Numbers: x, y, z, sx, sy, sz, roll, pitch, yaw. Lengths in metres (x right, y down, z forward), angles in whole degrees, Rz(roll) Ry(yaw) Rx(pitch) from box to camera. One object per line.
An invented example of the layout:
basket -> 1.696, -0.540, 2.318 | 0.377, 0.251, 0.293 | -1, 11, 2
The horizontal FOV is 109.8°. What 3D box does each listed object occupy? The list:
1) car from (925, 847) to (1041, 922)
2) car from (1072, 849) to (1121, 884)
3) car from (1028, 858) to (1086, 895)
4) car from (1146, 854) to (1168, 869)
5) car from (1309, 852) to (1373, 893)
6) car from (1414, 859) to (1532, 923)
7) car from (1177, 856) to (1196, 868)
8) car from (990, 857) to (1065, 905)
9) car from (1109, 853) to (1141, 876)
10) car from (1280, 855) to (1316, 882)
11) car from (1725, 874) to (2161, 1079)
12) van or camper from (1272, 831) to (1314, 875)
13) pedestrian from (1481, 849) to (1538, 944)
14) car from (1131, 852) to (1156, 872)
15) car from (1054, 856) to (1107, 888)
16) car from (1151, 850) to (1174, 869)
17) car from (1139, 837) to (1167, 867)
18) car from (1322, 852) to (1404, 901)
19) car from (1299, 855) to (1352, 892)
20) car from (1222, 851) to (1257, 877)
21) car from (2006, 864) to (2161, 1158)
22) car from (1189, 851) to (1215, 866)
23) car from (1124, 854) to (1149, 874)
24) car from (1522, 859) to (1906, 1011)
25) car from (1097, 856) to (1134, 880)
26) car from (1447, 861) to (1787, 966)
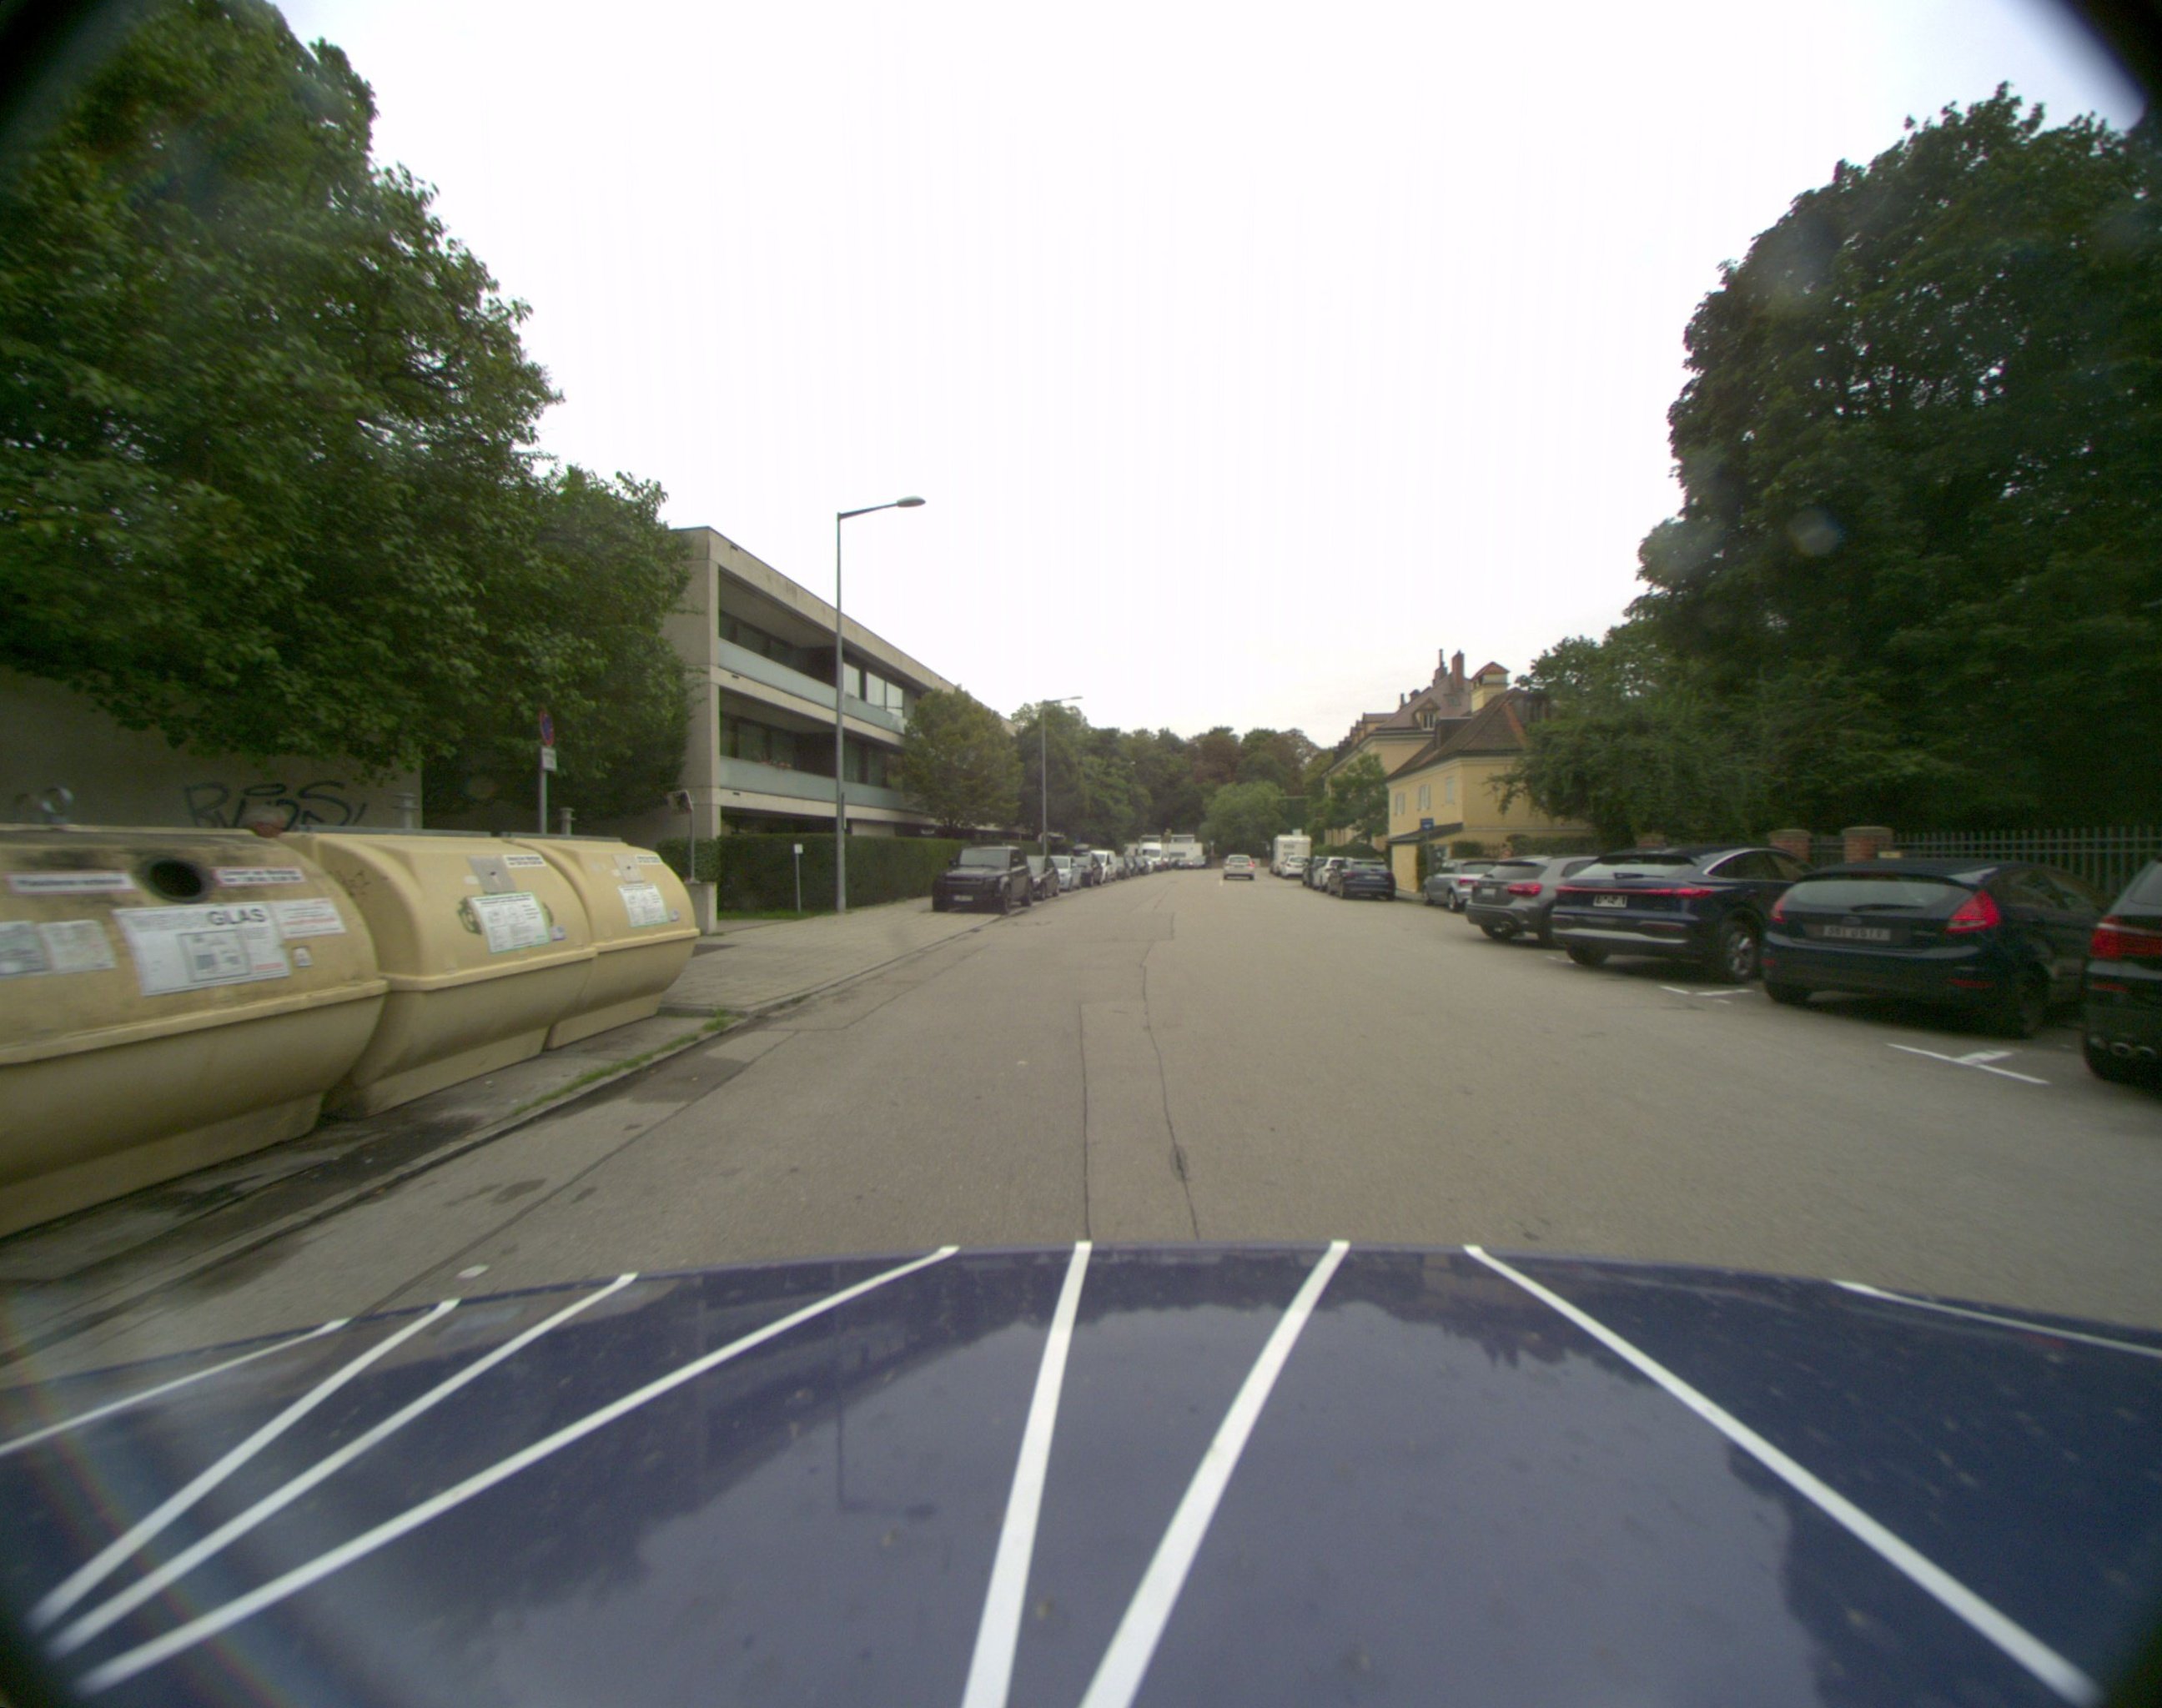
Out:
car -> -2.636, 0.762, 21.884 | 1.991, 1.860, 5.080 | -1, 1, 8
car -> 0.921, 0.672, 42.456 | 1.825, 1.849, 4.902 | -1, 0, 12
car -> -0.982, 0.929, 32.869 | 1.751, 1.472, 3.891 | 0, 0, 10
car -> 7.782, 0.759, 77.635 | 1.874, 1.498, 4.842 | 2, 0, 9
car -> 10.840, 0.707, 31.979 | 1.848, 1.526, 4.525 | 2, 1, 11
car -> 11.030, 0.968, 21.732 | 1.743, 1.526, 4.152 | 2, 1, 9
car -> 12.951, 1.009, 93.464 | 1.896, 1.437, 4.271 | -2, -2, 4
car -> -1.815, 0.892, 27.198 | 1.751, 1.530, 4.572 | 0, 0, 8
car -> 3.159, 0.713, 53.461 | 1.729, 1.520, 4.208 | 2, 0, 10
car -> 13.606, 0.854, 47.833 | 1.781, 1.526, 4.231 | 2, 1, 11
car -> 8.765, 0.990, 7.452 | 4.428, 1.478, 1.829 | 1, 1, -22
van or camper -> 15.410, -0.077, 55.654 | 2.458, 2.923, 7.218 | 2, 0, 12
pedestrian -> 7.686, 0.736, 13.658 | 0.591, 1.638, 0.714 | 2, 1, 4
car -> 5.385, 0.687, 64.913 | 1.874, 1.560, 5.005 | 2, 0, 7
car -> 0.049, 0.858, 37.374 | 1.751, 1.472, 4.602 | -1, 0, 10
car -> 8.946, 0.609, 82.747 | 1.938, 1.893, 5.077 | 2, 0, 12
car -> 6.811, -0.132, 71.472 | 2.083, 2.671, 6.093 | 2, 0, 9
car -> 9.932, 0.720, 27.141 | 1.848, 1.526, 4.565 | 2, 1, 9
car -> 11.737, 0.889, 36.722 | 1.848, 1.526, 4.444 | 2, 1, 11
car -> 9.351, 0.579, 45.090 | 1.775, 1.466, 4.136 | 0, 0, 8
car -> 8.277, 0.928, 4.719 | 4.533, 1.616, 1.962 | 1, 2, -23
car -> 13.833, 0.556, 86.628 | 1.995, 1.683, 4.342 | 0, -1, 23
car -> 4.340, 0.757, 58.788 | 1.283, 1.497, 5.212 | 2, 0, 10
car -> 8.237, 0.913, 9.895 | 4.533, 1.584, 1.961 | 1, 1, -23
car -> 2.230, 0.833, 48.198 | 1.751, 1.455, 4.246 | 0, 0, 10
car -> 8.710, 0.921, 12.622 | 4.343, 1.521, 1.932 | 0, 2, -3
